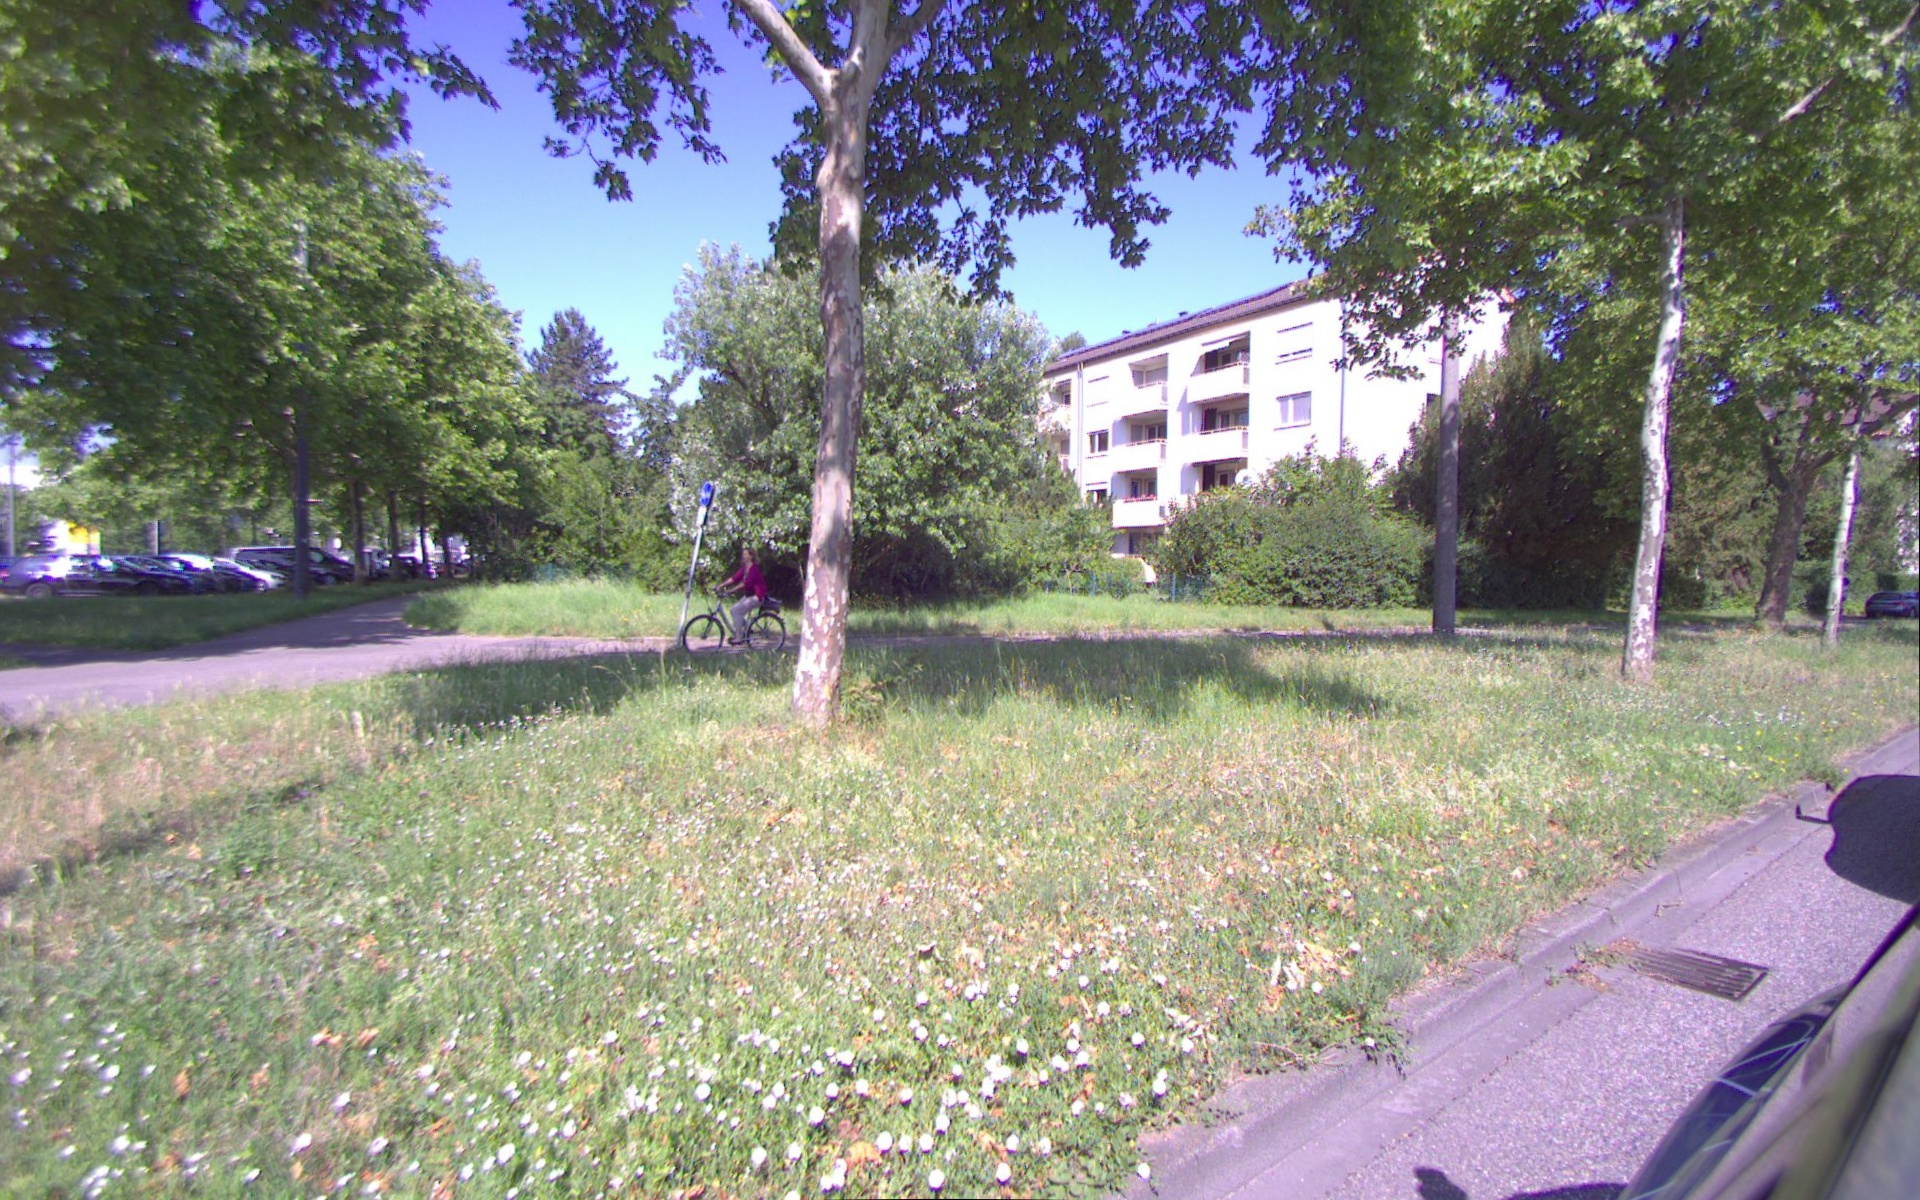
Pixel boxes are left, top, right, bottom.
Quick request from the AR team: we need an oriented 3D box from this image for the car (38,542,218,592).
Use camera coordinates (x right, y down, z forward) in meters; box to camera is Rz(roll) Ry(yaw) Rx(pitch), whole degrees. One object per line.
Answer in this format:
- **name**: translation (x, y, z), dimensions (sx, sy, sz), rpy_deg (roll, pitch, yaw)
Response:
- **car**: translation (-27.070, -1.063, 33.138), dimensions (4.267, 1.509, 2.003), rpy_deg (0, 2, -29)

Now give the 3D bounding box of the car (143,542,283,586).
- **car**: translation (-29.791, -1.414, 40.531), dimensions (4.267, 1.653, 2.003), rpy_deg (0, 2, -29)

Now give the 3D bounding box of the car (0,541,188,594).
- **car**: translation (-26.201, -0.972, 30.613), dimensions (4.267, 1.509, 2.003), rpy_deg (-1, 2, -29)

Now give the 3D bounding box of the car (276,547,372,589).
- **car**: translation (-35.815, -1.785, 57.140), dimensions (4.497, 2.236, 2.003), rpy_deg (0, 2, -29)

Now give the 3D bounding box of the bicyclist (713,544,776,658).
- **bicyclist**: translation (-3.534, 0.006, 16.605), dimensions (0.795, 1.809, 0.703), rpy_deg (0, 2, -34)

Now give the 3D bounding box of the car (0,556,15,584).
- **car**: translation (-64.891, -1.995, 66.496), dimensions (1.991, 1.816, 3.941), rpy_deg (0, 0, 41)

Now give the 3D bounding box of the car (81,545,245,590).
- **car**: translation (-28.003, -1.124, 35.766), dimensions (4.267, 1.509, 2.003), rpy_deg (0, 2, -29)

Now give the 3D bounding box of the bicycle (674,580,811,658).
- **bicycle**: translation (-3.548, 0.278, 16.594), dimensions (2.084, 1.200, 0.694), rpy_deg (0, 2, -34)

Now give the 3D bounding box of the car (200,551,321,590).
- **car**: translation (-31.178, -1.309, 45.298), dimensions (4.267, 1.653, 2.003), rpy_deg (0, 2, -29)

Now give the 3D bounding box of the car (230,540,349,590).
- **car**: translation (-32.330, -1.683, 48.970), dimensions (4.494, 2.318, 2.004), rpy_deg (0, 2, -24)

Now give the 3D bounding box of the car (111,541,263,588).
- **car**: translation (-28.963, -1.298, 38.112), dimensions (4.267, 1.653, 2.002), rpy_deg (0, 0, -29)

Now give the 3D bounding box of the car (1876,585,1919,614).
- **car**: translation (47.705, -0.029, 50.470), dimensions (4.004, 1.389, 1.510), rpy_deg (0, 2, -25)
